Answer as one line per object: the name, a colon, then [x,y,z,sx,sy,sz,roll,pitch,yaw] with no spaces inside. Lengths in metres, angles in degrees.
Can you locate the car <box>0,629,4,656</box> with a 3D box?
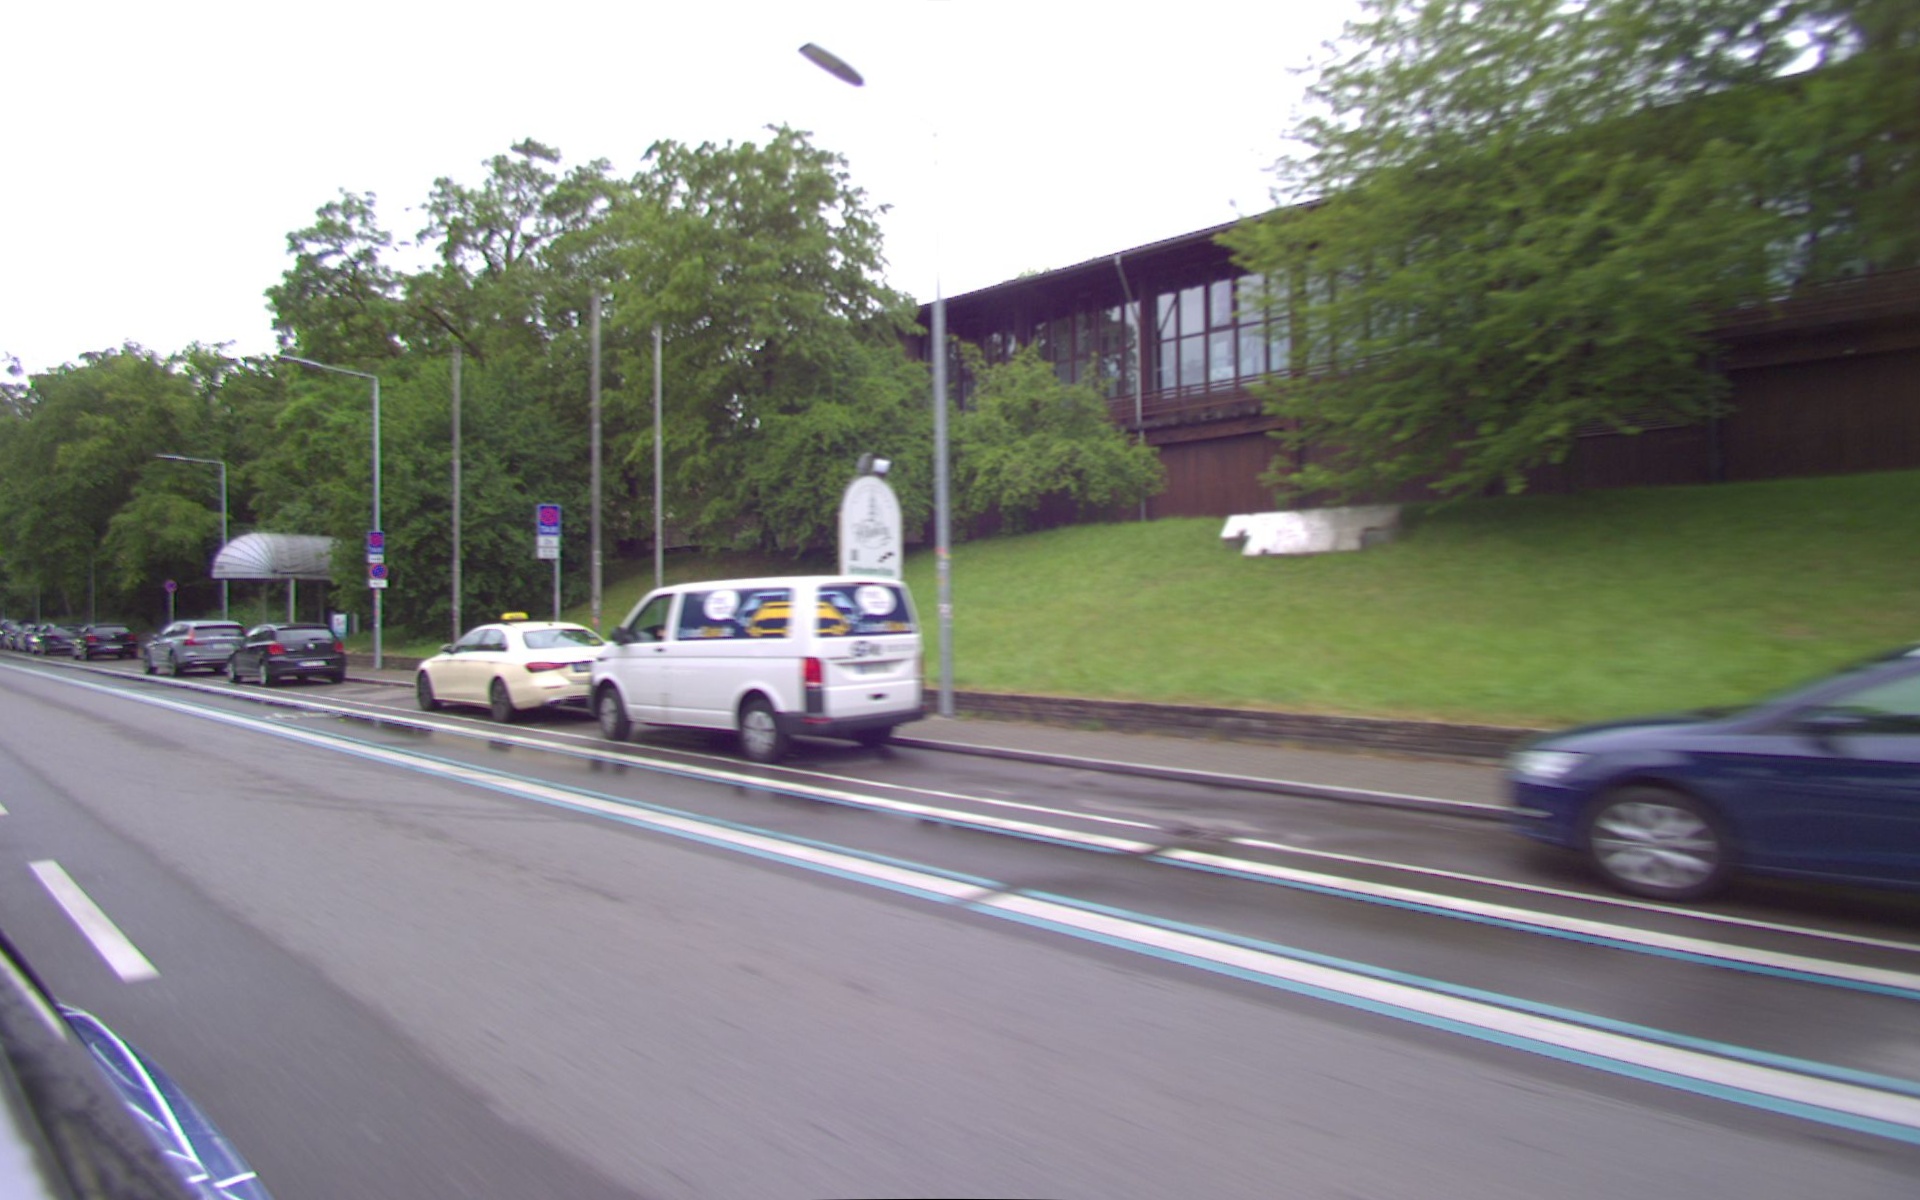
car: [-63.822,2.798,65.972,3.741,1.751,1.799,-3,-3,41]

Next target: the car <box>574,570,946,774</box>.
car: [-2.553,0.750,12.160,4.731,1.992,1.853,-1,-2,40]

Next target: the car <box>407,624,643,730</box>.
car: [-7.046,1.114,16.141,4.594,1.459,1.708,-1,-2,42]

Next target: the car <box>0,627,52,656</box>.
car: [-51.708,2.299,55.951,4.124,1.492,1.799,-3,-3,41]

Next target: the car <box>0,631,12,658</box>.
car: [-60.647,2.784,63.193,3.741,1.625,1.799,-3,-3,41]

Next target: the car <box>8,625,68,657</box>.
car: [-47.165,2.108,51.735,4.232,1.582,1.799,-3,-3,42]

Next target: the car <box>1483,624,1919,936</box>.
car: [5.391,0.860,5.141,4.608,1.470,1.666,-1,-2,40]

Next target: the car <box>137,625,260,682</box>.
car: [-21.362,1.435,28.338,4.324,1.479,1.772,-1,-2,39]

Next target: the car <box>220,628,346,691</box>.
car: [-16.197,1.359,24.166,3.584,1.382,1.658,-1,-2,42]

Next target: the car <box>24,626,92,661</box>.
car: [-41.628,2.000,46.662,4.541,1.554,1.799,-3,-3,42]

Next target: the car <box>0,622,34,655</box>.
car: [-56.232,2.303,59.830,3.741,1.874,1.799,-3,-3,41]

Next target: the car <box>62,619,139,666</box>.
car: [-34.667,1.713,40.794,3.998,1.779,1.799,-3,-3,41]
